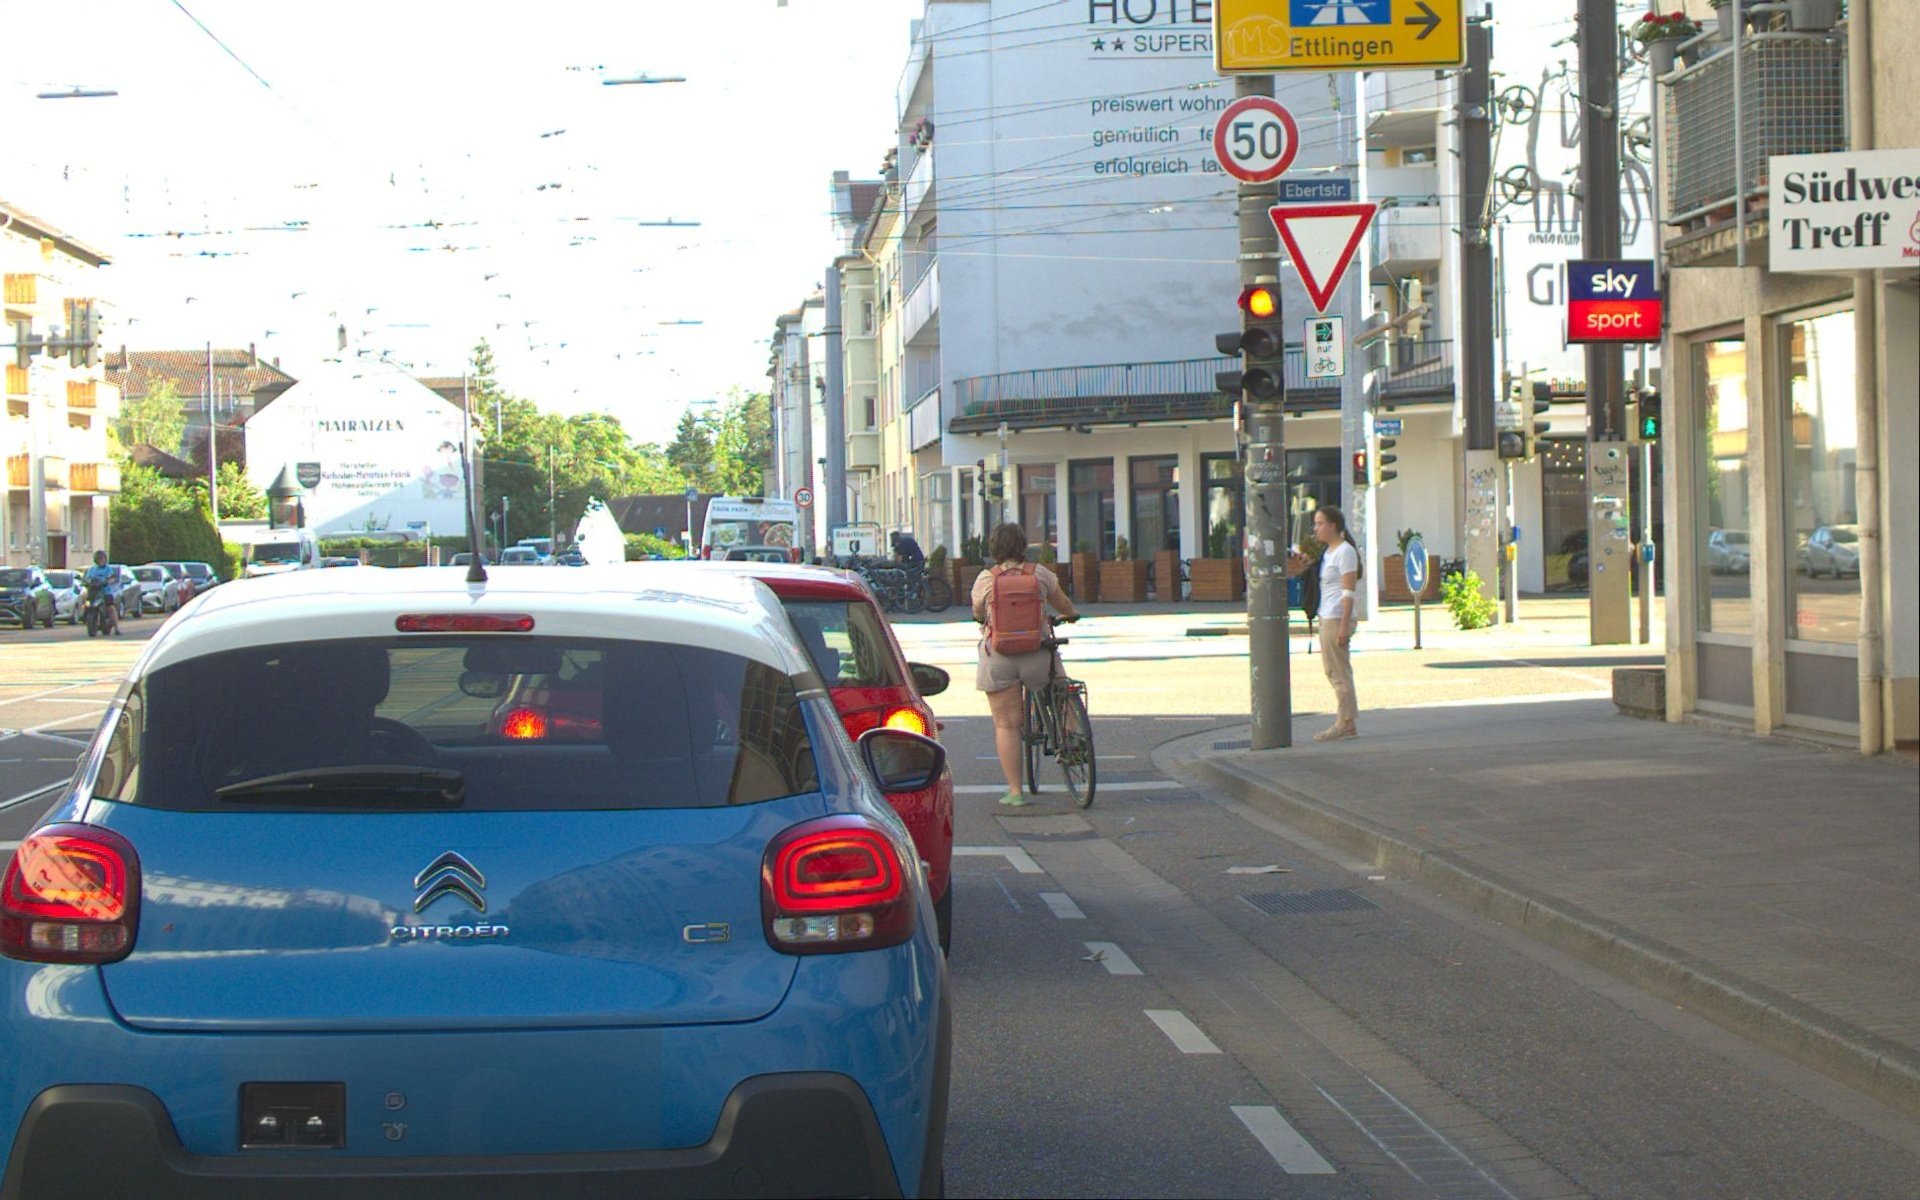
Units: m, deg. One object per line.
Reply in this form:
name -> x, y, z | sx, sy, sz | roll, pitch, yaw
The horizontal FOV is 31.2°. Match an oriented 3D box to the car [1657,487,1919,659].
car -> 9.673, -0.314, 35.447 | 4.533, 1.678, 1.793 | -1, 1, -5

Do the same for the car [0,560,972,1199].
car -> -0.963, 0.668, 7.382 | 1.680, 1.457, 4.001 | 0, 1, -4

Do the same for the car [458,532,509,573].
car -> -19.748, -1.966, 142.509 | 2.004, 1.622, 5.054 | -1, 1, -7

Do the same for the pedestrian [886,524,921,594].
pedestrian -> -1.156, -0.843, 70.266 | 0.525, 1.415, 0.546 | -1, 1, 20

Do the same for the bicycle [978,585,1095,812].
bicycle -> 0.444, 0.560, 20.649 | 0.613, 1.260, 1.911 | -1, 1, -1

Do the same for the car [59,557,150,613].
car -> -24.461, -0.453, 98.382 | 1.950, 1.514, 4.001 | -1, 1, -6

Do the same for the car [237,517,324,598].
car -> -23.664, -1.498, 119.943 | 2.493, 2.703, 5.839 | -1, 1, -7

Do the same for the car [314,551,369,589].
car -> -25.979, -1.273, 144.577 | 1.950, 1.514, 4.001 | -1, 1, -6

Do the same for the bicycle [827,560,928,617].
bicycle -> -1.610, -0.234, 67.128 | 1.904, 1.061, 0.642 | -1, 1, -7

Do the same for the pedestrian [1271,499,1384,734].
pedestrian -> 2.604, 0.107, 24.382 | 0.751, 1.629, 0.740 | -1, 1, 6

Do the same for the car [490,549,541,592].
car -> -22.047, -1.491, 170.849 | 2.338, 2.032, 5.051 | -1, 1, -6

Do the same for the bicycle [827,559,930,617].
bicycle -> -1.561, -0.240, 65.822 | 1.904, 1.061, 0.642 | -1, 1, -7

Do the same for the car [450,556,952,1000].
car -> -1.010, 0.577, 13.592 | 1.680, 1.457, 4.001 | 0, 1, -4

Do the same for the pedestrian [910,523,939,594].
pedestrian -> -0.723, -0.845, 70.014 | 0.467, 1.415, 0.527 | -1, 1, -13

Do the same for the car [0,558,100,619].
car -> -24.309, -0.331, 91.955 | 1.950, 1.514, 4.001 | -1, 1, -6

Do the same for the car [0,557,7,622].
car -> -23.324, -0.190, 79.233 | 1.950, 1.514, 4.001 | -1, 1, -6

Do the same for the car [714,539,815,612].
car -> -3.885, -0.513, 67.813 | 1.786, 1.354, 3.915 | -1, 1, -6

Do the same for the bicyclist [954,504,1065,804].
bicyclist -> 0.287, 0.303, 20.607 | 0.600, 1.740, 1.084 | -1, 1, -1

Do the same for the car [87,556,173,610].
car -> -24.928, -0.537, 103.386 | 1.950, 1.514, 4.001 | -1, 1, -6

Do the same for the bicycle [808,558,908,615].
bicycle -> -2.029, -0.271, 68.320 | 1.904, 1.061, 0.642 | -1, 1, -7

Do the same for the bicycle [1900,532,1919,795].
bicycle -> 4.910, 0.313, 15.760 | 0.640, 1.260, 1.911 | -1, 1, -1

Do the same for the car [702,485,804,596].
car -> -4.435, -1.274, 73.248 | 2.079, 2.262, 5.652 | 0, 1, -4

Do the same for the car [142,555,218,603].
car -> -26.071, -0.716, 115.007 | 1.950, 1.514, 4.001 | -1, 1, -6

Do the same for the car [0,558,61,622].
car -> -23.789, -0.264, 85.897 | 1.950, 1.514, 4.001 | -1, 1, -6

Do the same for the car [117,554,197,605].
car -> -25.362, -0.667, 108.665 | 1.950, 1.514, 4.001 | -1, 1, -6

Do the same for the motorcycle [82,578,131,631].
motorcycle -> -16.697, 0.076, 67.294 | 0.751, 0.973, 2.098 | -1, 1, -9

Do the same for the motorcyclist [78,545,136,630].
motorcyclist -> -16.678, -0.249, 67.221 | 0.991, 1.625, 0.739 | -1, 1, -9
